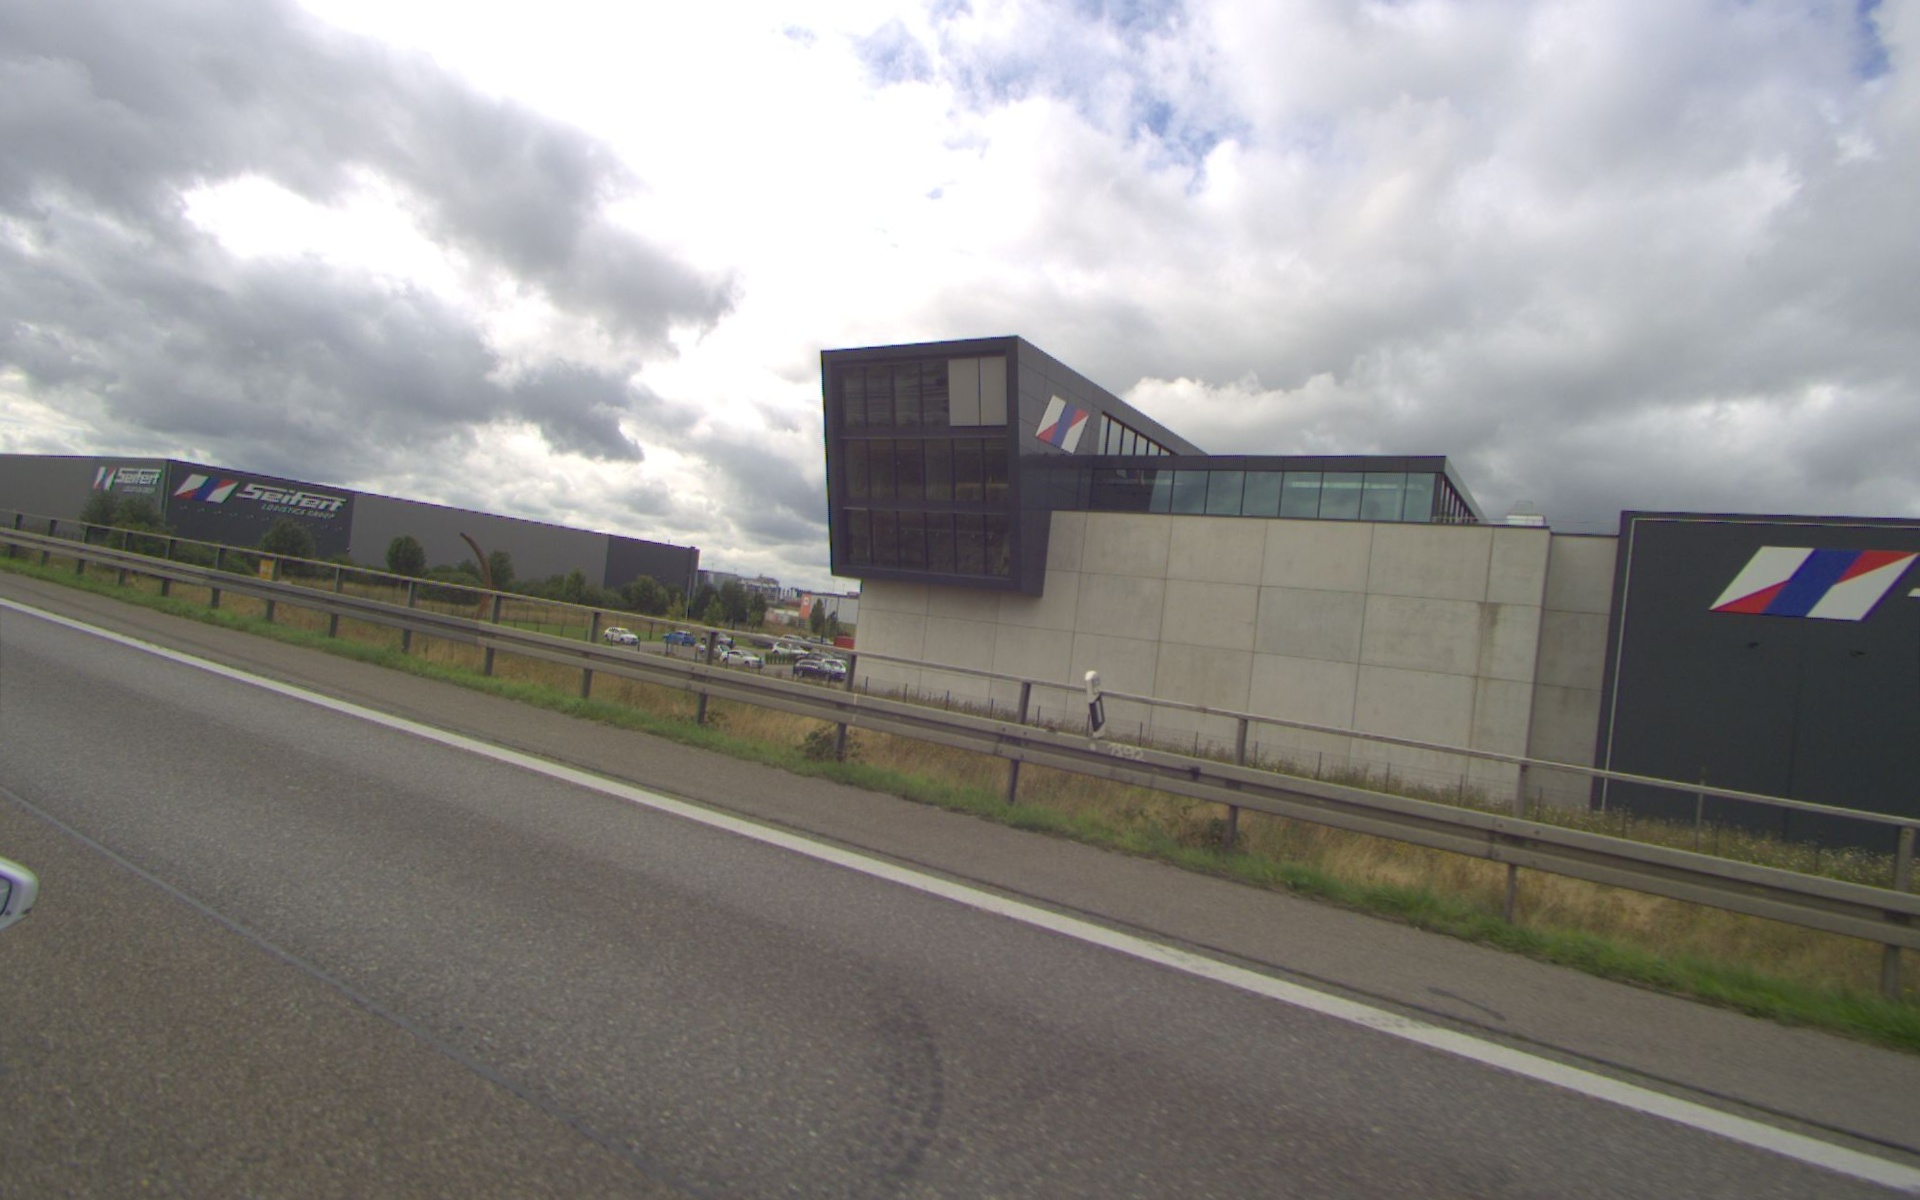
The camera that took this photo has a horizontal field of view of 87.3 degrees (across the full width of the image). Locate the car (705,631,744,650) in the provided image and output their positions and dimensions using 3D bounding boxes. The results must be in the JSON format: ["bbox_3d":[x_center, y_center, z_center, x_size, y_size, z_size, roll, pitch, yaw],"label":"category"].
[{"bbox_3d":[-25.510,4.411,109.141,3.933,1.511,1.679,7,-2,31],"label":"car"}]

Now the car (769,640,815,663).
[{"bbox_3d":[-17.202,5.289,102.870,4.395,1.721,1.679,7,-2,31],"label":"car"}]

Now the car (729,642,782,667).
[{"bbox_3d":[-17.991,4.801,88.485,4.488,1.511,1.679,7,-2,31],"label":"car"}]

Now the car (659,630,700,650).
[{"bbox_3d":[-29.259,4.143,104.891,3.933,1.511,1.679,7,-2,31],"label":"car"}]

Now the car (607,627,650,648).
[{"bbox_3d":[-32.320,3.657,97.936,3.933,1.511,1.679,7,-2,31],"label":"car"}]
